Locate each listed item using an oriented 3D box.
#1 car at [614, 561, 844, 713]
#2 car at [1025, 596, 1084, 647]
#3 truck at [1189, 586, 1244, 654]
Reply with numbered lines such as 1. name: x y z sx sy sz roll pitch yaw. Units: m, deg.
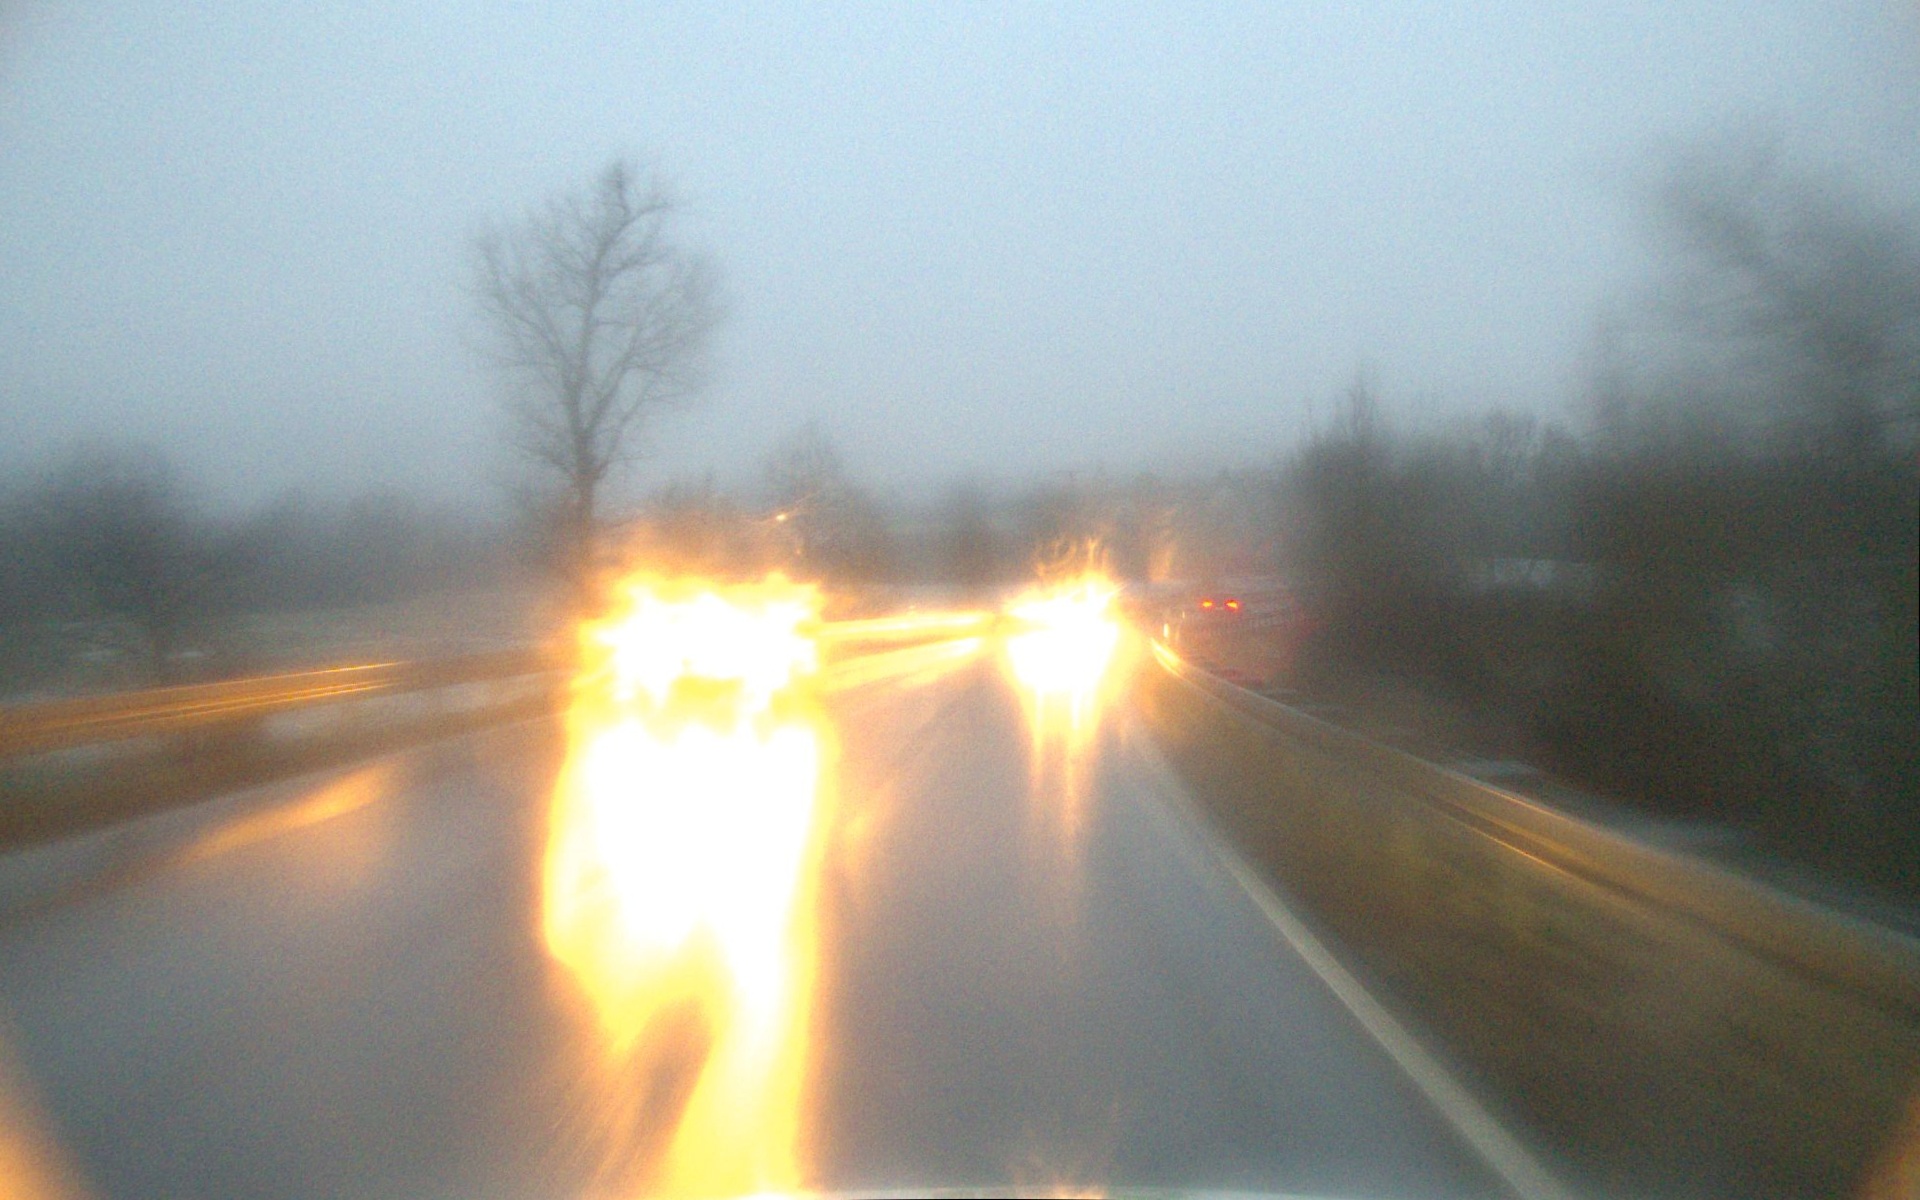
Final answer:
1. car: -2.715 0.385 20.637 1.968 1.663 4.875 0 1 3
2. car: 3.785 0.823 65.820 1.843 1.896 5.011 0 1 9
3. truck: 12.939 0.937 83.145 2.478 2.918 5.930 -2 3 11
